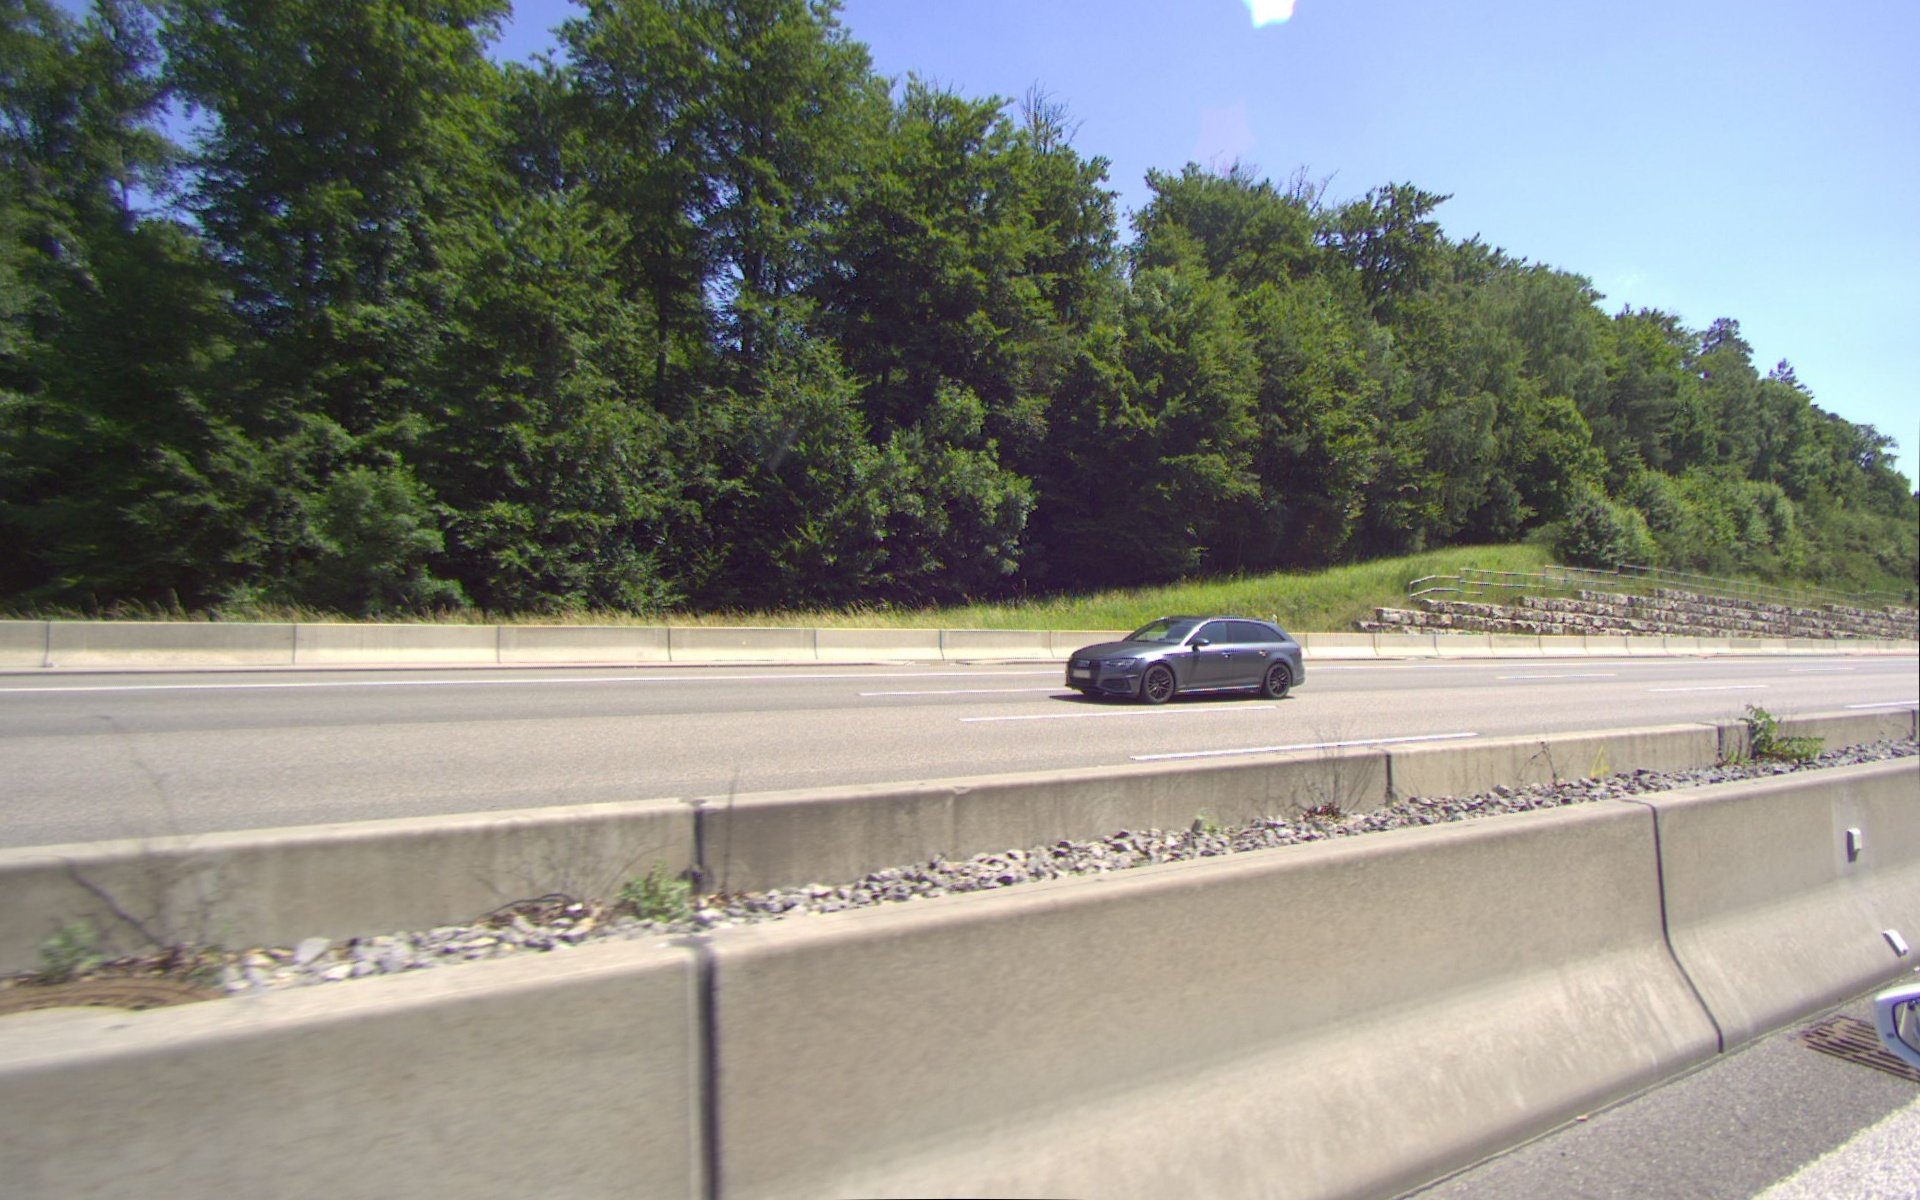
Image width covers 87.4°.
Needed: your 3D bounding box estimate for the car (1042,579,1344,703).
[{"bbox_3d":[4.148,0.724,17.572,5.192,1.896,1.983,3,0,-31],"label":"car"}]
